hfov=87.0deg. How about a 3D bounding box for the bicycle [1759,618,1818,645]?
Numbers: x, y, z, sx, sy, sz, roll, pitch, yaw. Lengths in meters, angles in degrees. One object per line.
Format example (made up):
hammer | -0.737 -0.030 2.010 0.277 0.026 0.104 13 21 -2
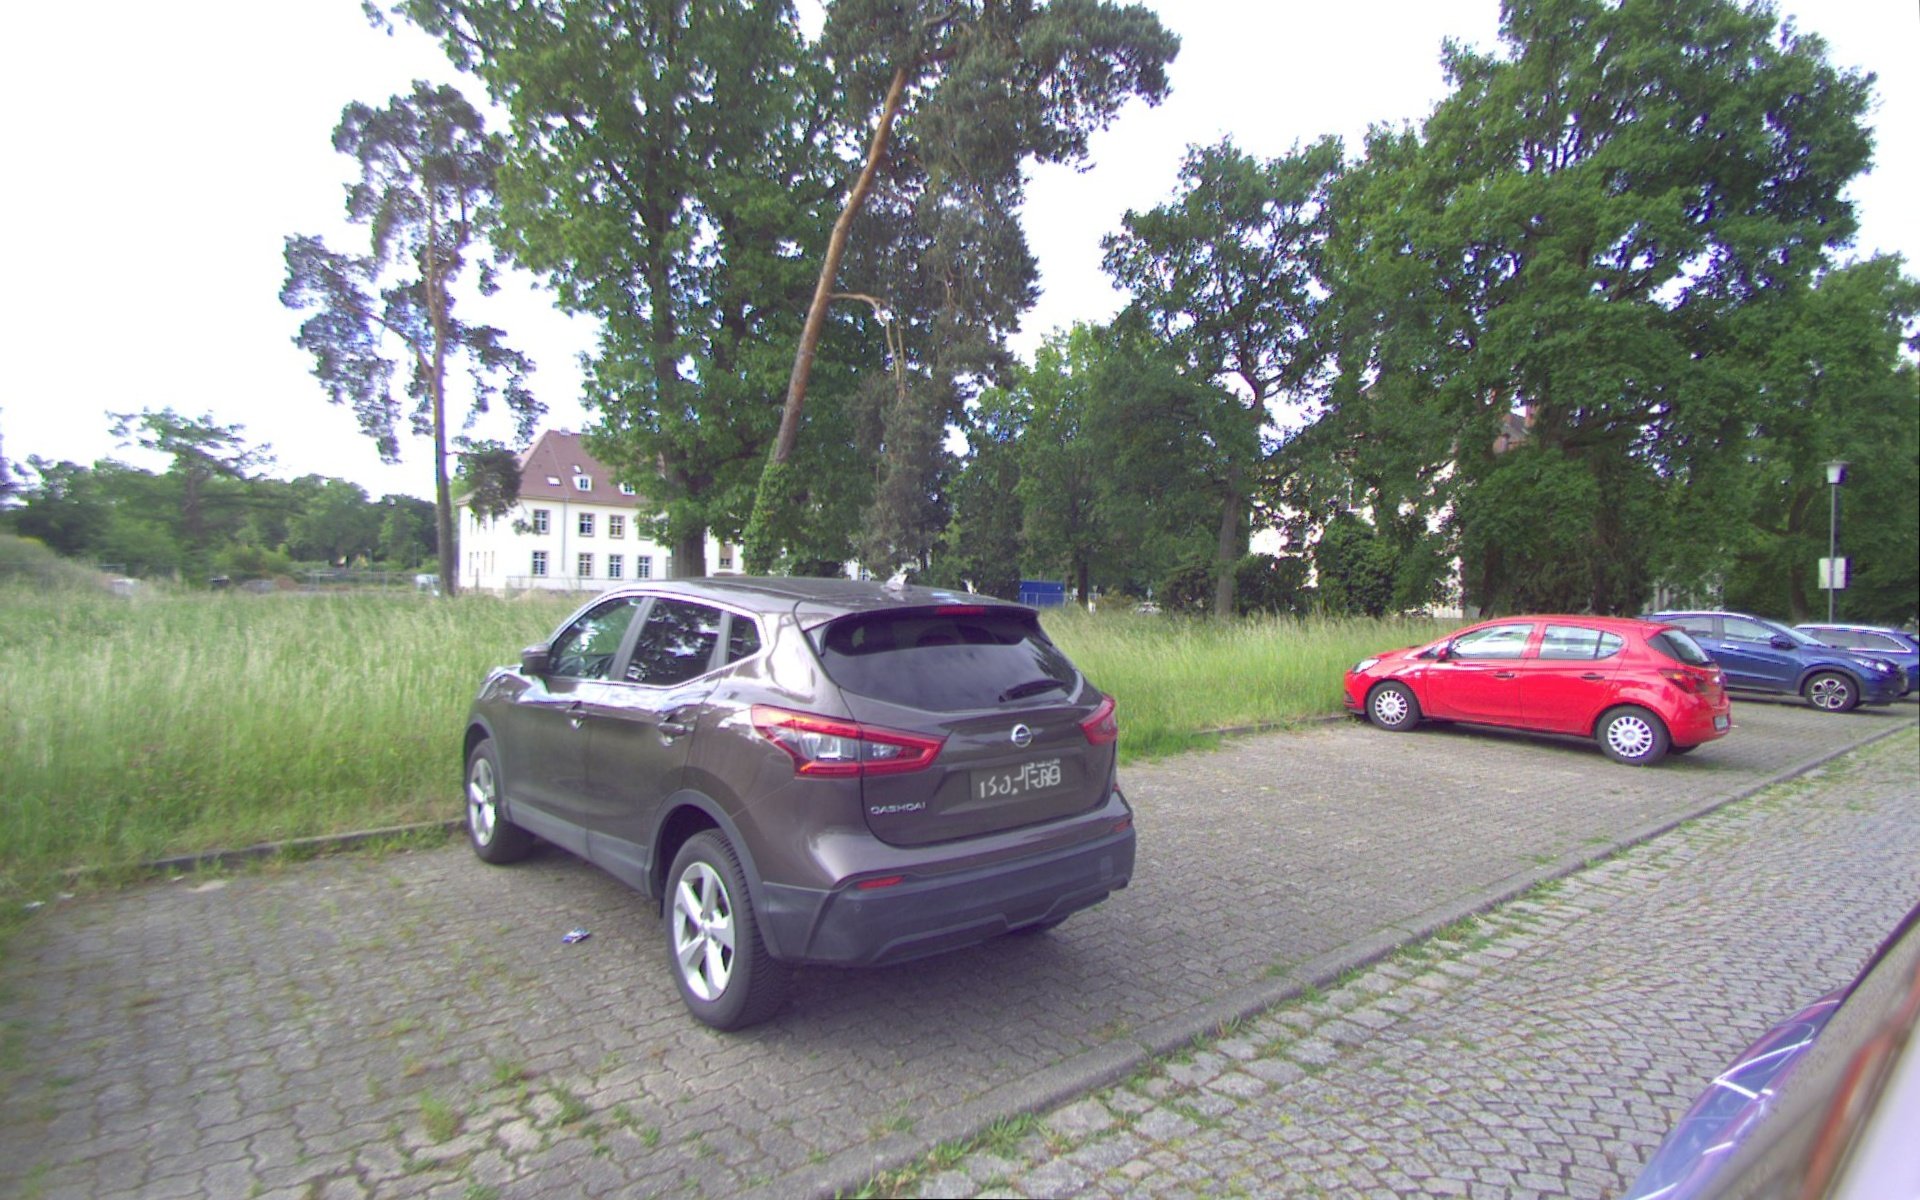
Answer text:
bicycle | 36.677 1.377 44.813 1.919 1.185 0.484 0 -1 26

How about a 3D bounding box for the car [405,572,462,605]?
car | -44.832 -0.947 86.118 5.651 2.675 2.246 0 -1 38

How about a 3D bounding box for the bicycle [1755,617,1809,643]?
bicycle | 39.117 1.410 48.185 1.926 1.185 0.531 -1 -1 35

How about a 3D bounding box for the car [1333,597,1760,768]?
car | 6.622 0.793 11.758 1.754 1.515 3.930 1 1 -41

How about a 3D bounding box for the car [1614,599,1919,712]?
car | 14.475 0.878 18.139 1.854 1.643 4.253 1 1 -41

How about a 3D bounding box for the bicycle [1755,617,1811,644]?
bicycle | 37.970 1.395 46.716 1.922 1.185 0.483 -1 -1 29

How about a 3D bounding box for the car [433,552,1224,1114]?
car | -1.032 0.609 5.134 1.919 1.615 4.210 1 1 -42

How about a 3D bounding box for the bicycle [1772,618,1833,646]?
bicycle | 36.391 1.367 43.741 1.917 1.185 0.484 0 -1 23

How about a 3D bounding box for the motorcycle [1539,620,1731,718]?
motorcycle | 9.819 0.967 14.814 0.558 1.217 2.234 1 1 -41

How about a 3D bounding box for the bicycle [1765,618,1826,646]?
bicycle | 35.814 1.364 43.395 1.917 1.185 0.484 0 -1 23

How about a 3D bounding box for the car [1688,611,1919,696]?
car | 18.083 1.055 21.078 1.891 1.457 4.369 1 1 -38
